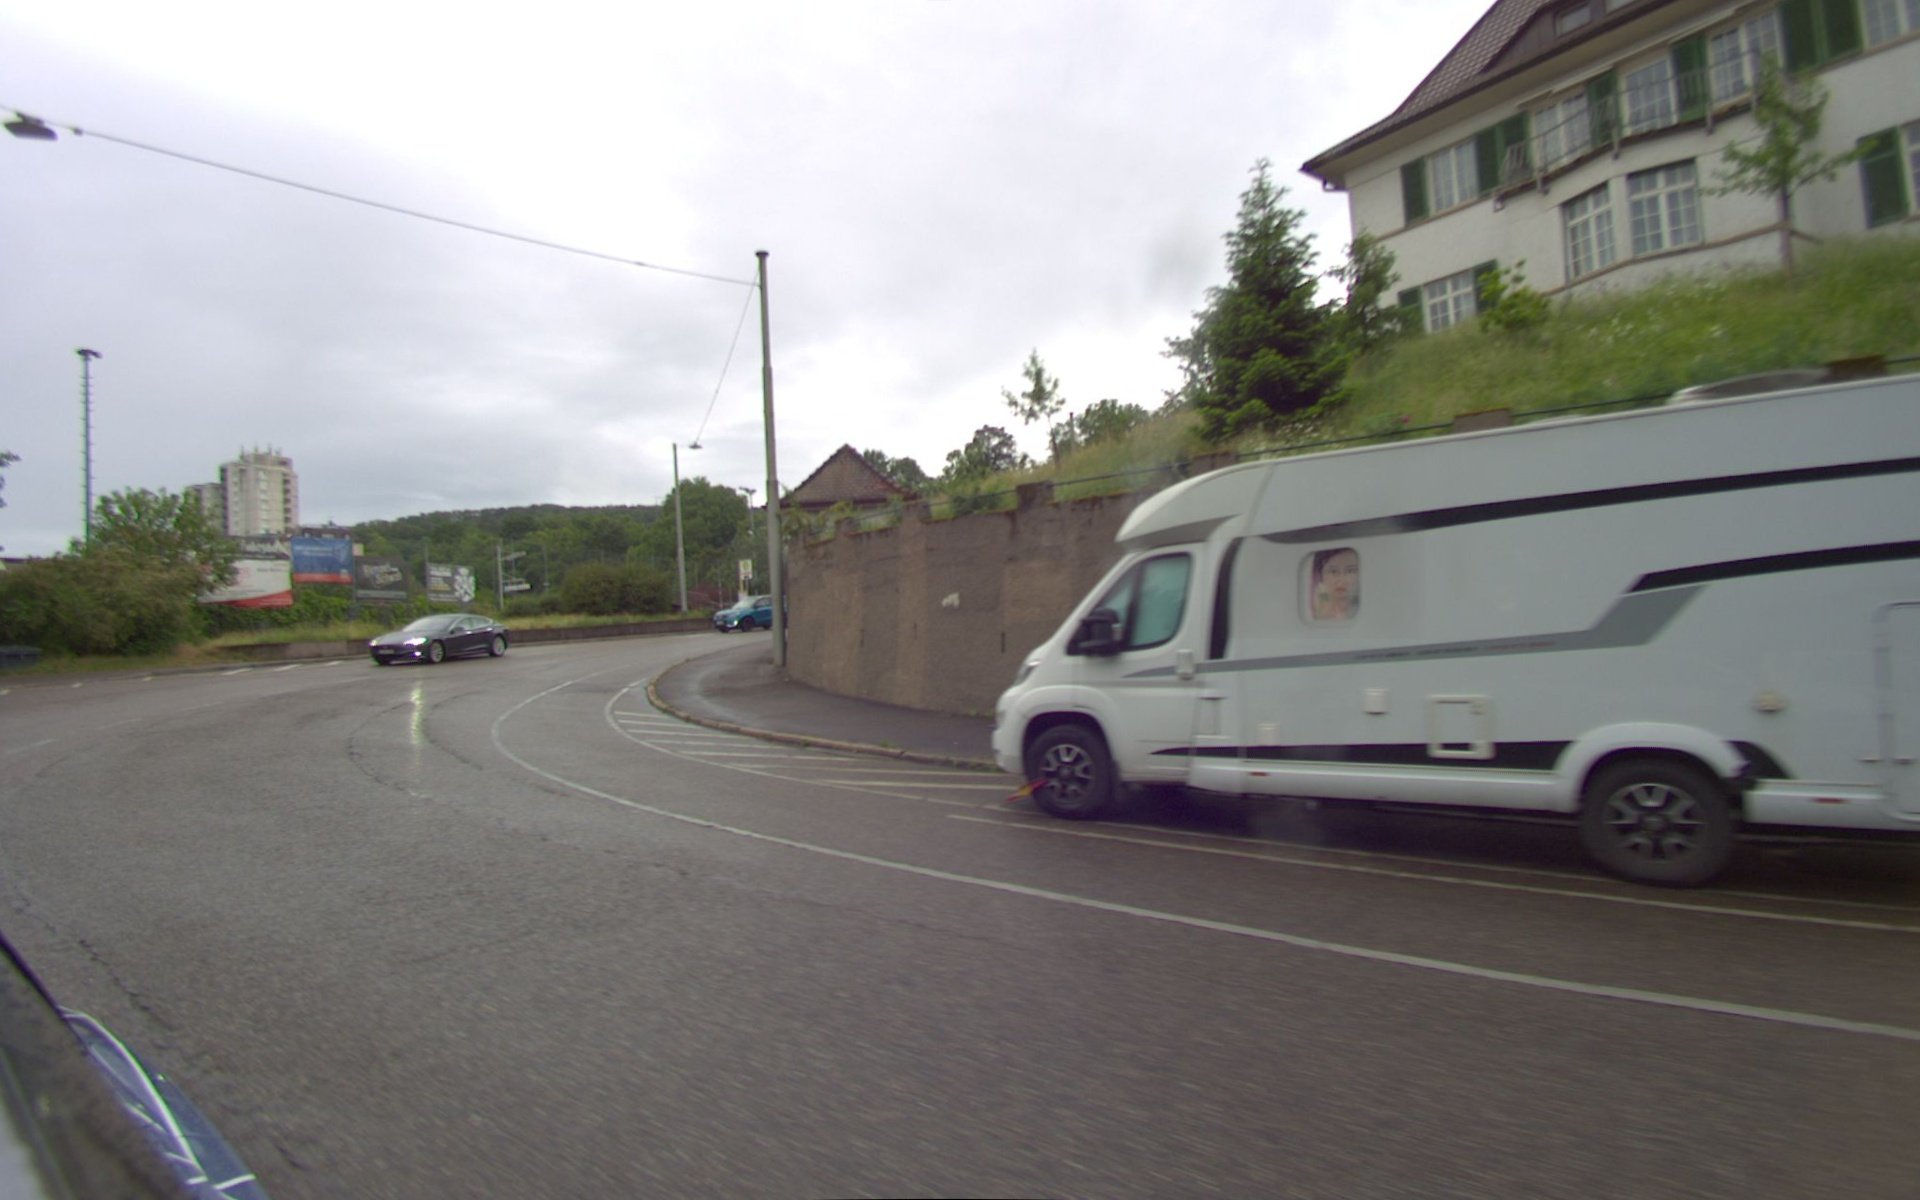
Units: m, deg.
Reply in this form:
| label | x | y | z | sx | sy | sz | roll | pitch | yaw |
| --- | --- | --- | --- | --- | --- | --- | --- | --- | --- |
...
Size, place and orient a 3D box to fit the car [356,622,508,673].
| label | x | y | z | sx | sy | sz | roll | pitch | yaw |
| --- | --- | --- | --- | --- | --- | --- | --- | --- | --- |
| car | -16.171 | 1.420 | 31.258 | 1.818 | 1.402 | 4.305 | -1 | -1 | 13 |

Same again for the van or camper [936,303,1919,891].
| label | x | y | z | sx | sy | sz | roll | pitch | yaw |
| --- | --- | --- | --- | --- | --- | --- | --- | --- | --- |
| van or camper | 3.307 | 0.092 | 7.037 | 7.032 | 2.810 | 2.137 | -3 | -3 | 35 |

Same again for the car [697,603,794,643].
| label | x | y | z | sx | sy | sz | roll | pitch | yaw |
| --- | --- | --- | --- | --- | --- | --- | --- | --- | --- |
| car | -9.704 | 1.021 | 46.004 | 1.799 | 1.622 | 3.989 | -7 | -5 | 38 |
